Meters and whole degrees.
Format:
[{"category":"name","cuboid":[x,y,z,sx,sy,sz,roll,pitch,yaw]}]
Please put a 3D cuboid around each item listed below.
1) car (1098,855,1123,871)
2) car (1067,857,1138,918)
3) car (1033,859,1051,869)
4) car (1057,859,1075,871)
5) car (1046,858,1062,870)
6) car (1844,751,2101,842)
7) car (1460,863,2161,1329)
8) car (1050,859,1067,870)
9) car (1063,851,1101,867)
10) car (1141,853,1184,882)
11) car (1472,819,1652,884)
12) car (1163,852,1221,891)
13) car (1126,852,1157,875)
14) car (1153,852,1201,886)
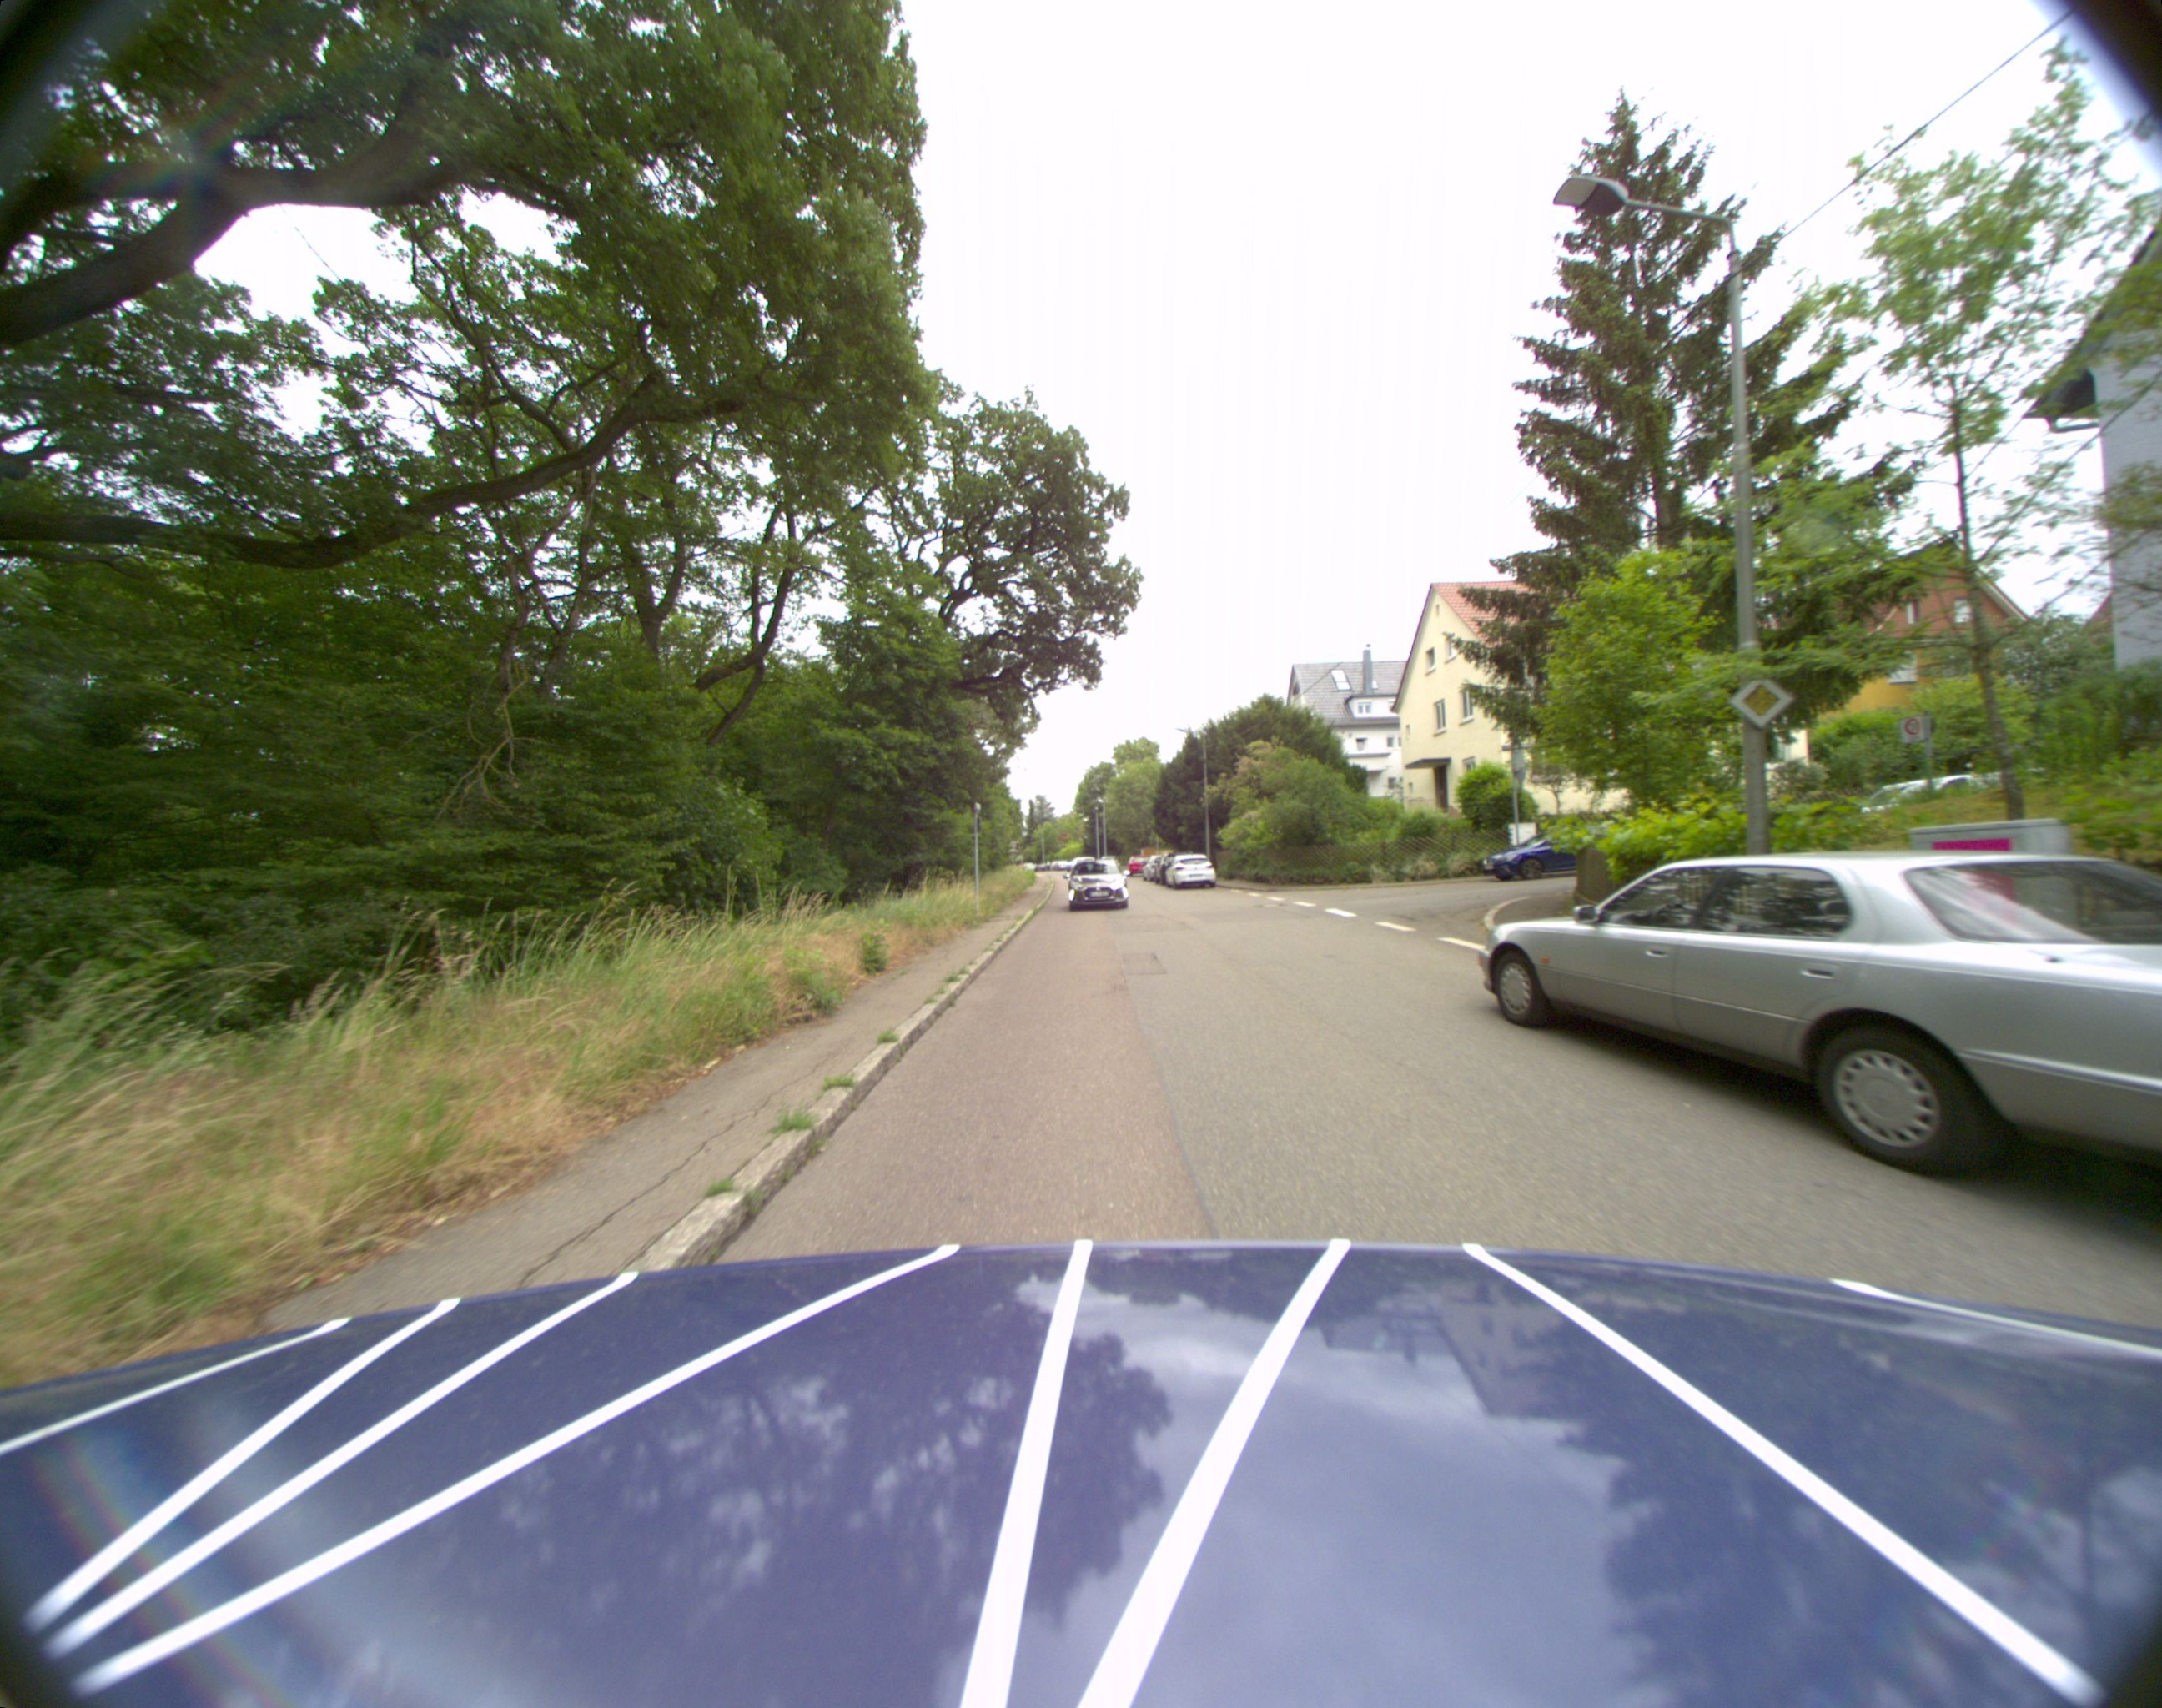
[{"category":"car","cuboid":[2.823,0.884,72.996,1.765,1.441,4.042,-3,0,-6]},{"category":"car","cuboid":[0.557,0.897,22.081,1.788,1.491,4.014,-3,0,-1]},{"category":"car","cuboid":[-7.103,1.820,136.848,2.001,1.678,4.704,-3,0,-17]},{"category":"car","cuboid":[-2.210,1.638,111.526,2.000,1.678,4.707,-3,0,-10]},{"category":"car","cuboid":[-4.480,1.646,125.241,2.000,1.678,4.707,-3,0,-10]},{"category":"car","cuboid":[25.802,-1.611,22.143,4.930,1.984,1.931,-5,-4,1]},{"category":"car","cuboid":[4.411,0.817,4.451,1.853,1.431,4.909,-1,0,-1]},{"category":"car","cuboid":[-3.544,1.674,119.659,2.000,1.678,4.707,-3,0,-10]},{"category":"car","cuboid":[0.135,0.615,91.942,1.995,1.678,4.719,-3,0,40]},{"category":"car","cuboid":[4.584,0.748,43.220,1.788,1.431,4.323,-3,0,-2]},{"category":"car","cuboid":[13.908,-0.060,22.161,3.996,1.474,1.722,-5,-1,5]},{"category":"car","cuboid":[4.742,0.727,32.968,1.788,1.491,4.014,-3,0,-1]},{"category":"car","cuboid":[4.220,0.662,53.441,1.741,1.431,3.787,-3,0,-2]},{"category":"car","cuboid":[4.682,0.690,37.544,1.788,1.491,4.014,-3,0,-1]}]
